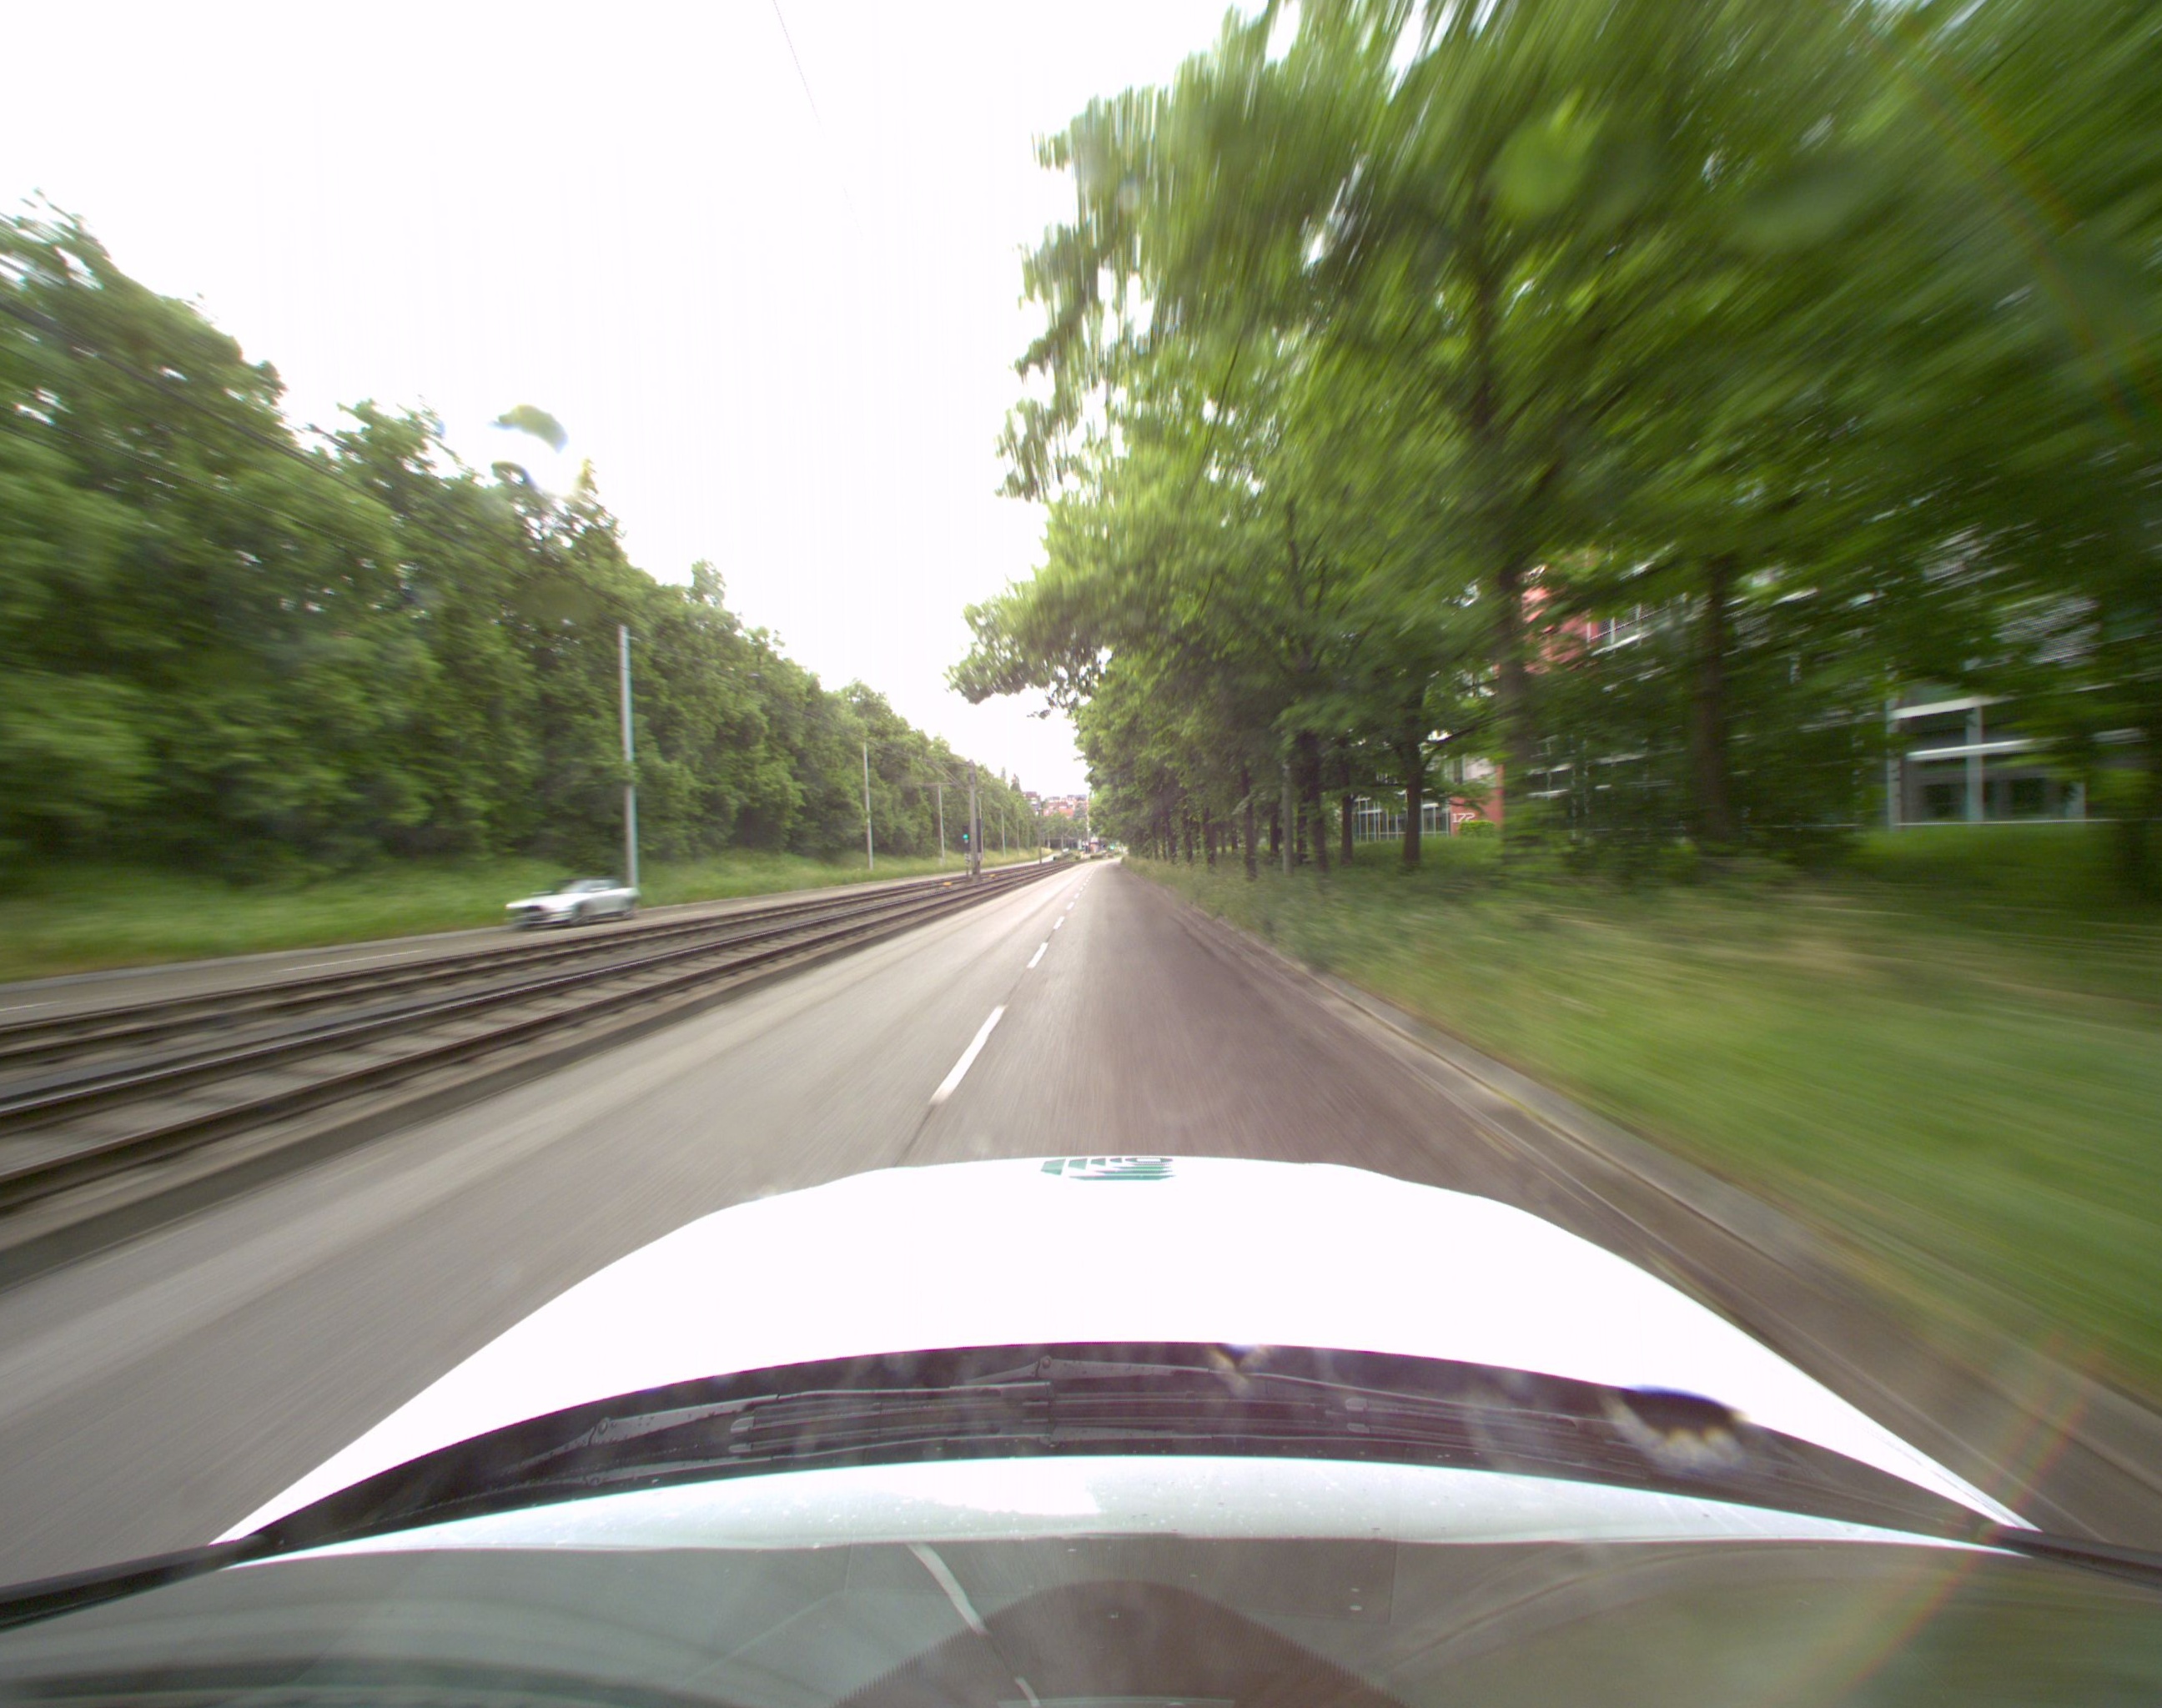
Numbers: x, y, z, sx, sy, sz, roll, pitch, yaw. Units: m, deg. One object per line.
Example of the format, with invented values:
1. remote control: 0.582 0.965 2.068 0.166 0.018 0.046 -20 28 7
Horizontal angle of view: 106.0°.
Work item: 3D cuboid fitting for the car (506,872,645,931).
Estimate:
1. car: -14.858 1.345 24.208 1.470 1.436 3.911 -4 0 2
